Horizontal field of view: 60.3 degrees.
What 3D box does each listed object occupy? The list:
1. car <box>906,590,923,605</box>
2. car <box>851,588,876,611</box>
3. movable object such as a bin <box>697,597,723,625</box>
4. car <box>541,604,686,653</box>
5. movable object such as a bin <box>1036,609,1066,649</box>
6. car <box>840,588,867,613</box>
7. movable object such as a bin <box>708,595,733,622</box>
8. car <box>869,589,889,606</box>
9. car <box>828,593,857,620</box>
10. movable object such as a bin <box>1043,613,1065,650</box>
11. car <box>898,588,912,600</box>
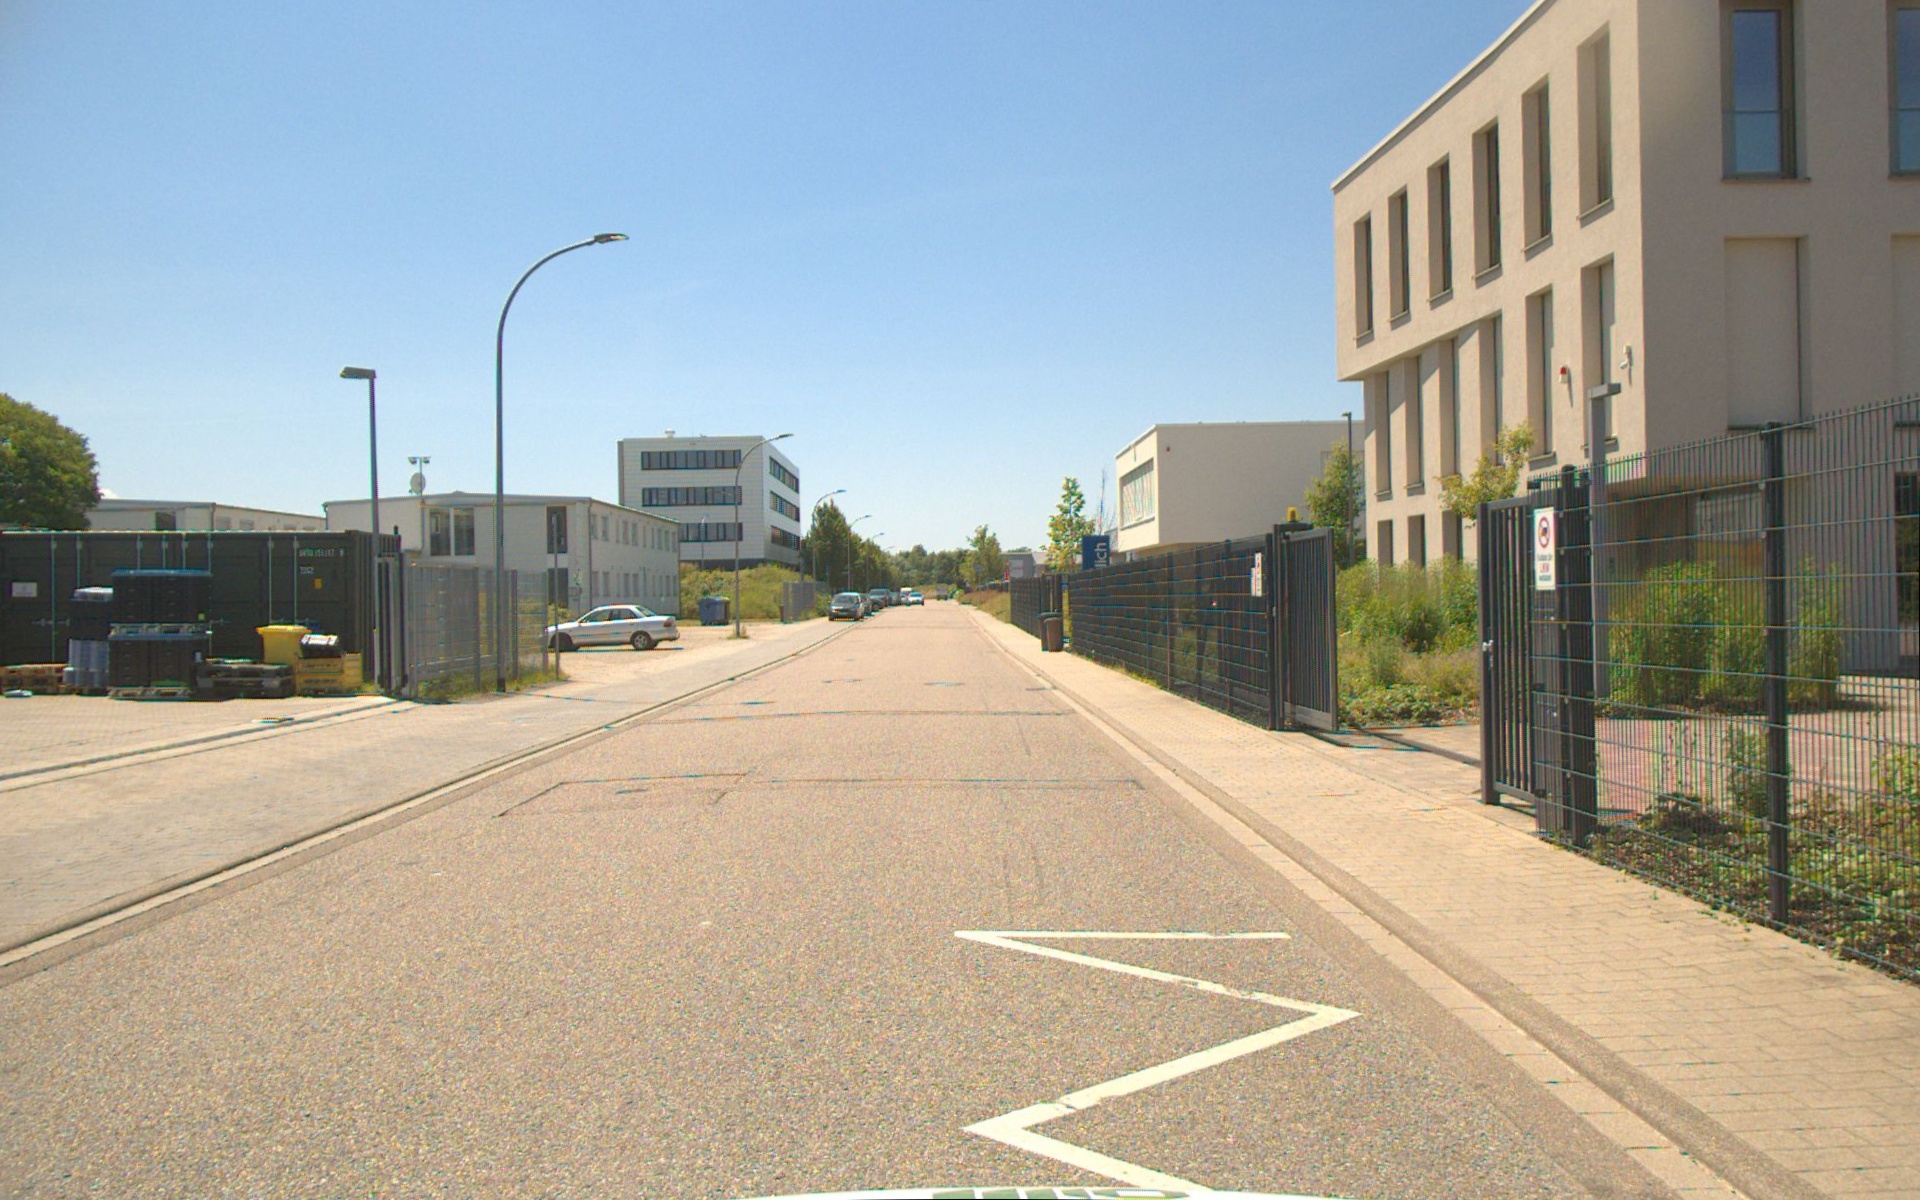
[{"bbox_3d":[-5.050,-0.283,182.558,1.767,1.584,3.999,-2,0,-1],"label":"car"},{"bbox_3d":[-6.419,-0.057,110.221,1.437,1.516,3.207,-1,0,-1],"label":"car"},{"bbox_3d":[-13.245,0.586,87.671,1.260,1.436,1.805,-1,0,-5],"label":"movable object such as a bin"},{"bbox_3d":[-11.014,0.900,52.738,4.191,1.388,1.897,-2,0,-1],"label":"car"},{"bbox_3d":[2.592,0.827,47.316,0.763,1.037,0.665,-5,1,3],"label":"movable object such as a bin"},{"bbox_3d":[-6.478,0.017,100.939,1.437,1.516,3.207,-1,0,-1],"label":"car"},{"bbox_3d":[-13.214,0.453,91.263,1.260,1.436,1.805,-1,0,-5],"label":"movable object such as a bin"},{"bbox_3d":[-7.331,-0.209,149.327,1.611,1.516,3.207,-1,0,-1],"label":"car"},{"bbox_3d":[-6.666,0.366,94.049,1.437,1.516,3.207,-1,0,-1],"label":"car"},{"bbox_3d":[2.631,0.879,46.383,0.541,0.944,0.522,-5,1,3],"label":"movable object such as a bin"},{"bbox_3d":[-7.164,-0.766,215.981,1.767,1.584,3.999,-2,0,-1],"label":"car"}]
